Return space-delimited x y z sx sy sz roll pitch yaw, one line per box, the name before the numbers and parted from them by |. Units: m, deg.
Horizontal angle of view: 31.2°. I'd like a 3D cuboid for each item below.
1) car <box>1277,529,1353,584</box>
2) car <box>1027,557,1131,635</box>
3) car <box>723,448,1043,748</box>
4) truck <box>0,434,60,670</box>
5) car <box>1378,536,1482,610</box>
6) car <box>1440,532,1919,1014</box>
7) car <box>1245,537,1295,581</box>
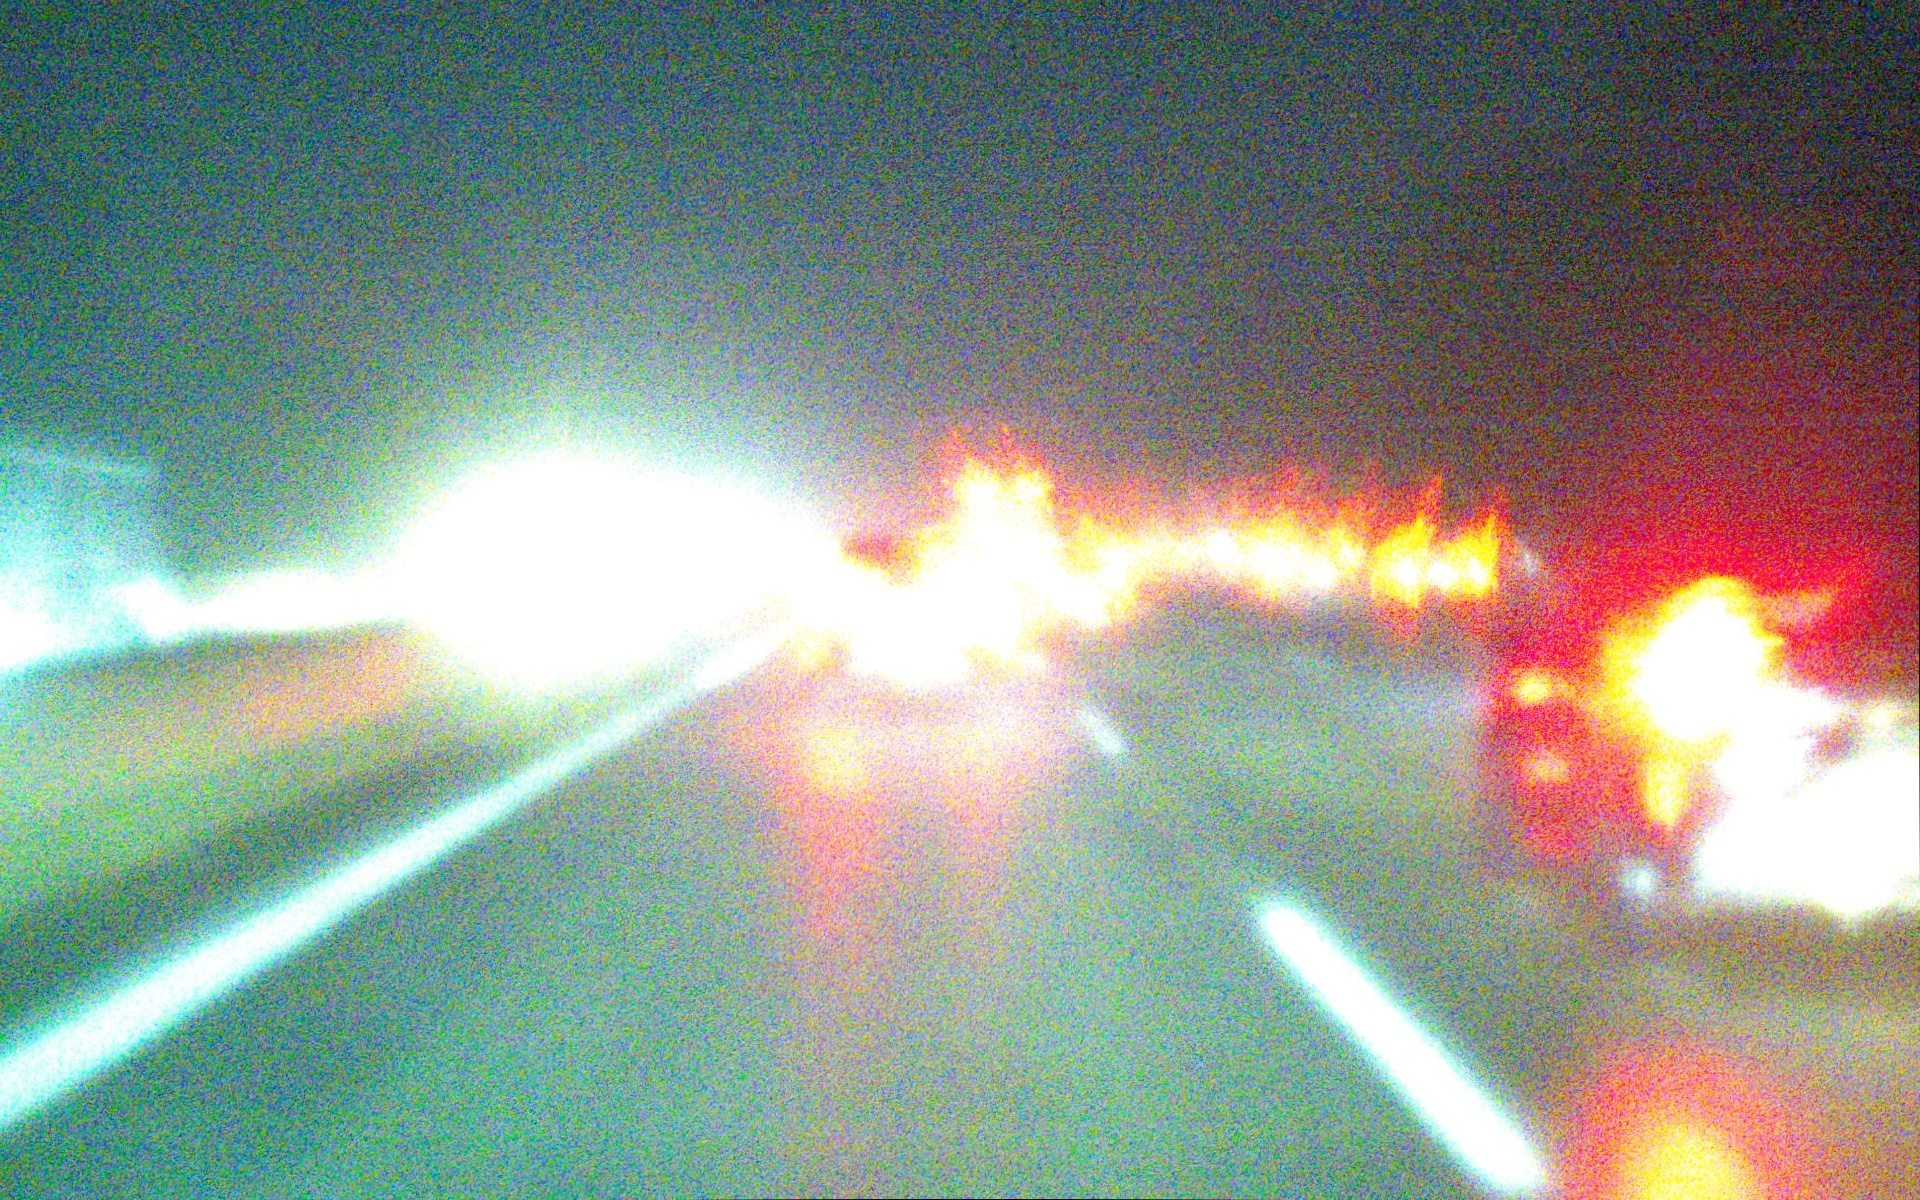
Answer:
car | 10.746 -1.314 104.279 1.856 1.612 4.000 1 1 0
car | 2.563 -0.106 74.875 2.137 1.612 4.000 1 1 0
car | -0.766 -0.089 32.886 2.709 2.525 5.831 -2 1 -2
truck | -18.072 -0.817 59.906 2.921 4.080 6.994 -1 1 -1
car | 10.824 -0.629 79.352 1.856 1.612 4.000 1 1 0
car | 3.120 0.541 13.364 1.884 1.583 4.000 1 1 -1
car | 11.453 -1.517 127.150 1.713 1.553 4.000 1 1 4
